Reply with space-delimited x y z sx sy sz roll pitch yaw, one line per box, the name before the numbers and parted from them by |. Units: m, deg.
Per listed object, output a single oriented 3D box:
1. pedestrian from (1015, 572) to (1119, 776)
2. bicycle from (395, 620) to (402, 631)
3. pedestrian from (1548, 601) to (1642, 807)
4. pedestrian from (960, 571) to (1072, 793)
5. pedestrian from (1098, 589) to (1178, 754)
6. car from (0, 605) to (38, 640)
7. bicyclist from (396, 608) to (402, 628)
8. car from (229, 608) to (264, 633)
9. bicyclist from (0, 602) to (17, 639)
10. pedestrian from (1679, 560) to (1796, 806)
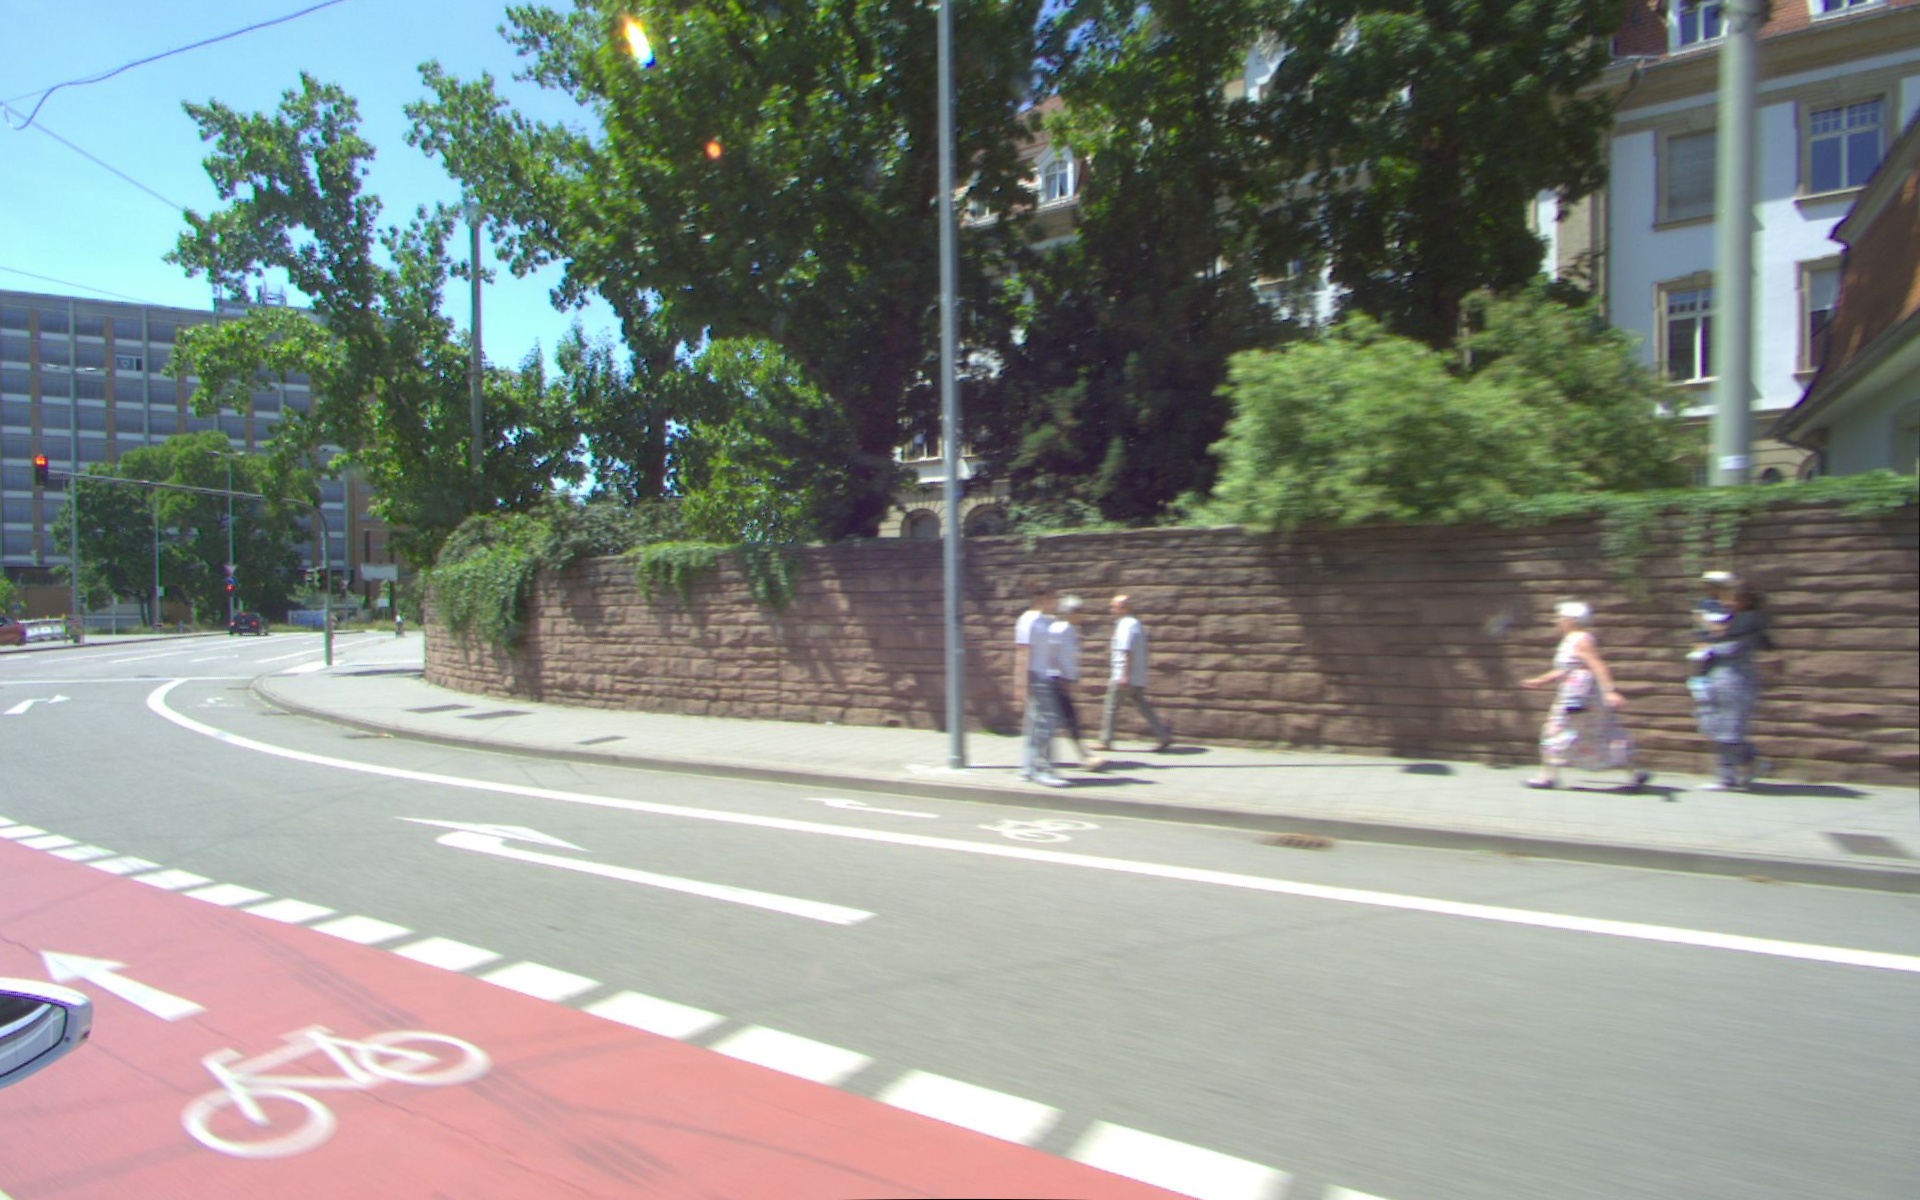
pedestrian | 1.025 0.668 9.545 0.690 1.832 0.811 0 1 35
bicycle | -35.618 1.599 63.550 0.373 0.654 1.636 0 0 -30
pedestrian | 5.027 0.782 7.921 0.590 1.553 0.514 0 1 36
pedestrian | 0.492 0.676 8.730 0.738 1.832 0.675 0 1 35
pedestrian | 1.880 0.729 10.568 0.616 1.669 0.658 0 1 36
car | -41.653 0.965 42.967 1.708 1.443 4.112 0 -1 -22
bicyclist | -35.607 1.158 63.541 0.348 1.244 0.561 -1 1 -30
car | -46.404 1.304 65.182 1.672 1.547 3.666 0 0 -34
bicyclist | -45.908 0.988 48.197 0.559 1.742 0.506 -1 1 -18
pedestrian | 6.068 0.615 7.848 0.620 1.798 0.714 -1 5 30
